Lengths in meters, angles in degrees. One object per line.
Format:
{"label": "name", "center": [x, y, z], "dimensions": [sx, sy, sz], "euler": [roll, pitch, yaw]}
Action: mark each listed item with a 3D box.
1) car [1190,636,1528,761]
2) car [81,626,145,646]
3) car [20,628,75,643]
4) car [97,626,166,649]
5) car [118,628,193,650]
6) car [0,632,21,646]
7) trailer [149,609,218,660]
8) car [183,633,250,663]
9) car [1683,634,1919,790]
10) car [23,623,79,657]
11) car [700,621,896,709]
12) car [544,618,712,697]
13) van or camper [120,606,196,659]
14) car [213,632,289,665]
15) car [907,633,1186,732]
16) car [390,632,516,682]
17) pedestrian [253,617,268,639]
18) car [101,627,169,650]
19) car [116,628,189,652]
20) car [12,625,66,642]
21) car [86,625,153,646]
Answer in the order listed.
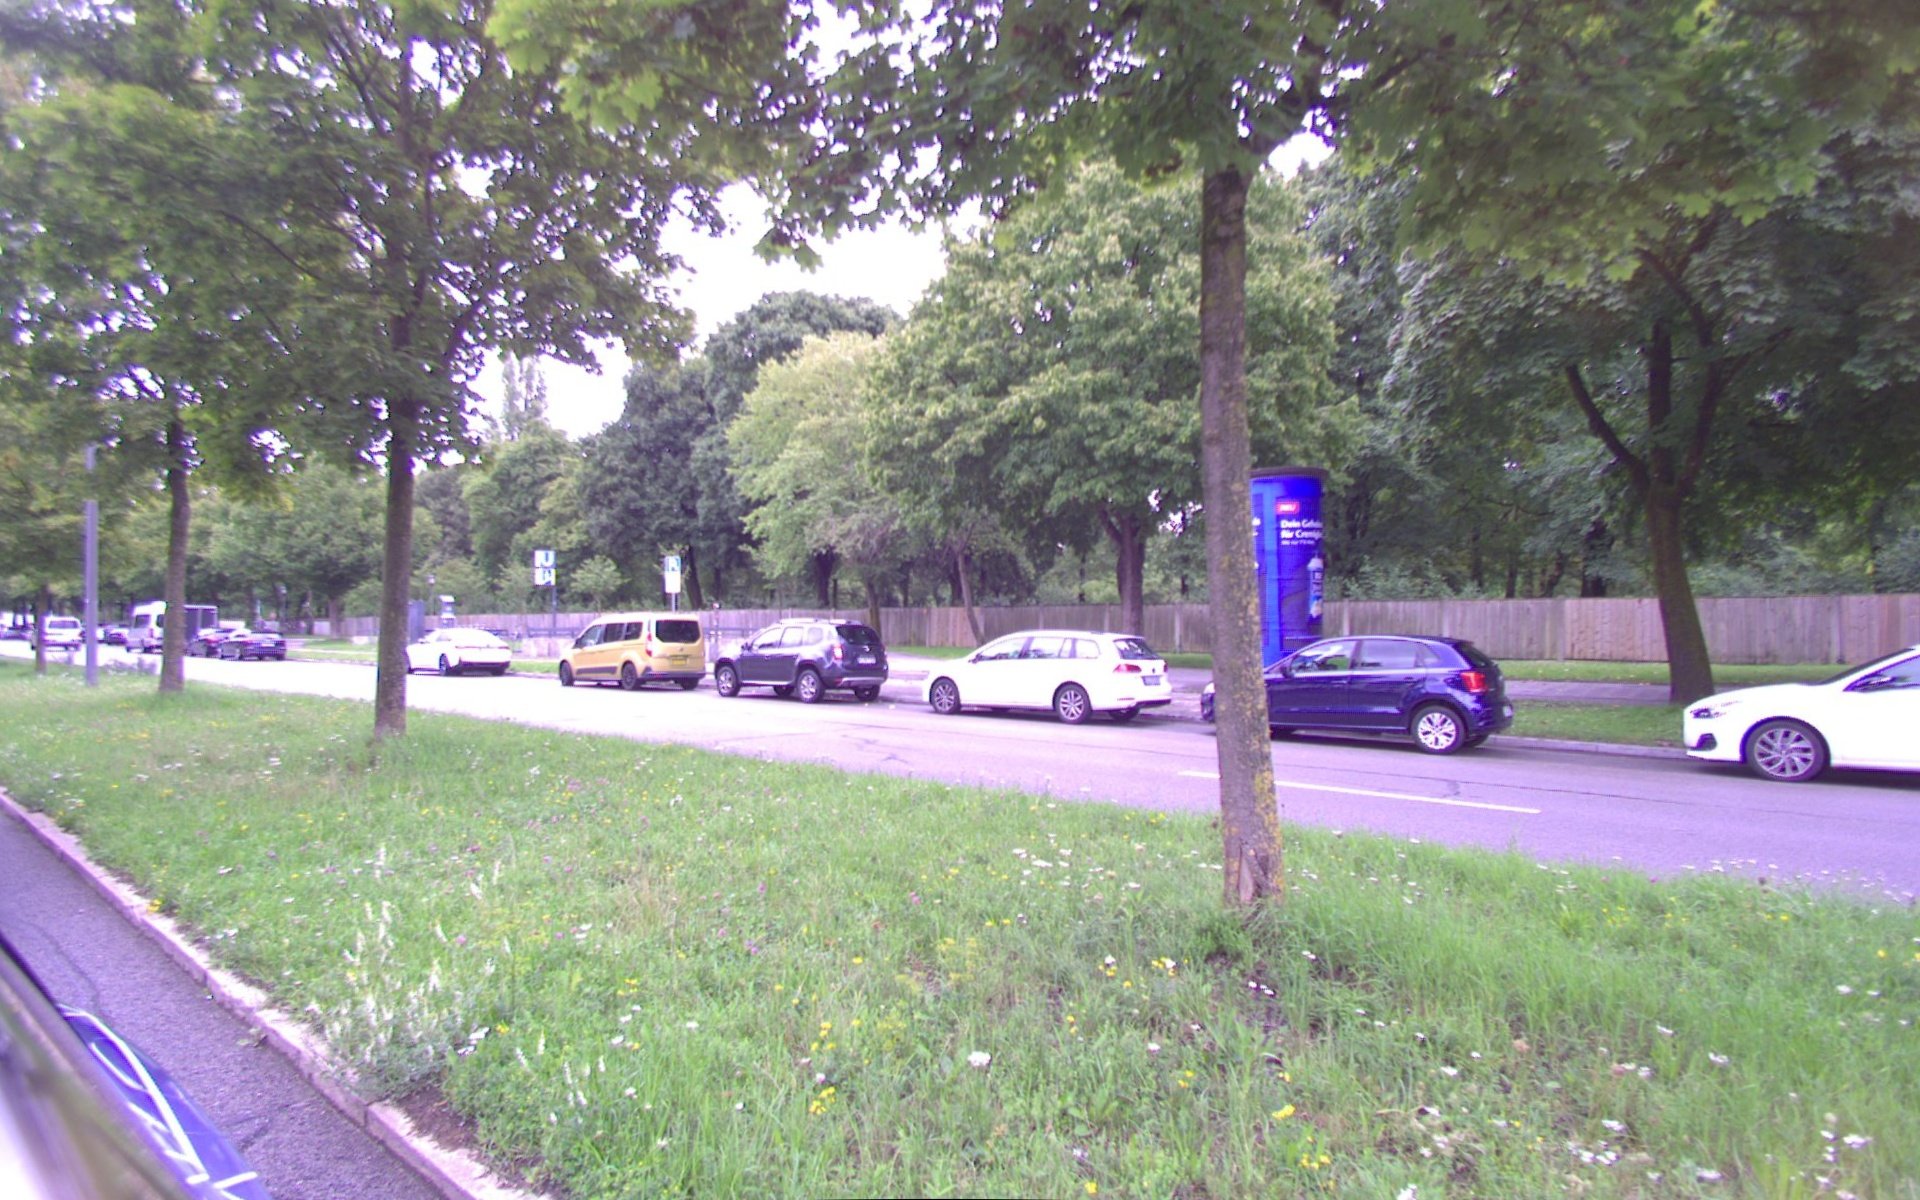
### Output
{"label": "car", "center": [5.205, 1.200, 13.453], "dimensions": [3.893, 1.428, 1.597], "euler": [-2, -3, 39]}
{"label": "car", "center": [-72.319, 3.075, 86.465], "dimensions": [1.723, 1.466, 3.984], "euler": [-2, 0, 13]}
{"label": "car", "center": [-91.506, 3.503, 101.542], "dimensions": [1.574, 1.376, 3.987], "euler": [-1, 0, 10]}
{"label": "car", "center": [-65.488, 2.925, 80.075], "dimensions": [1.783, 1.599, 3.985], "euler": [-2, 0, 12]}
{"label": "car", "center": [-58.385, 2.805, 73.559], "dimensions": [1.779, 1.449, 4.316], "euler": [-1, 0, 6]}
{"label": "car", "center": [-105.649, 4.289, 112.333], "dimensions": [4.170, 1.454, 1.864], "euler": [-1, -1, 45]}
{"label": "trailer", "center": [-41.462, 1.869, 54.006], "dimensions": [4.656, 2.610, 1.996], "euler": [-2, -3, 41]}
{"label": "car", "center": [-36.977, 2.373, 50.284], "dimensions": [4.235, 1.394, 1.781], "euler": [-2, -3, 41]}
{"label": "car", "center": [9.738, 1.067, 9.840], "dimensions": [4.276, 1.455, 1.590], "euler": [-2, -3, 41]}
{"label": "car", "center": [-54.544, 2.386, 60.712], "dimensions": [4.990, 1.948, 1.781], "euler": [-1, -3, 40]}
{"label": "car", "center": [-3.465, 1.316, 21.284], "dimensions": [4.252, 1.658, 1.719], "euler": [-2, -3, 40]}
{"label": "car", "center": [-8.332, 1.388, 25.187], "dimensions": [4.816, 1.796, 1.795], "euler": [-2, -3, 42]}
{"label": "van or camper", "center": [-46.056, 1.883, 58.029], "dimensions": [7.542, 2.859, 2.014], "euler": [-2, -3, 41]}
{"label": "car", "center": [-32.142, 2.195, 45.852], "dimensions": [4.428, 1.436, 1.781], "euler": [-2, -3, 41]}
{"label": "car", "center": [1.352, 1.303, 17.059], "dimensions": [4.529, 1.461, 1.744], "euler": [-2, -3, 40]}
{"label": "car", "center": [-16.296, 1.795, 32.432], "dimensions": [4.871, 1.484, 1.838], "euler": [-2, -3, 40]}
{"label": "pedestrian", "center": [-58.585, 2.331, 84.793], "dimensions": [0.872, 1.781, 0.761], "euler": [-1, -2, 37]}
{"label": "car", "center": [-63.427, 2.945, 77.878], "dimensions": [1.779, 1.497, 3.993], "euler": [-2, 0, 6]}
{"label": "car", "center": [-60.838, 2.985, 76.320], "dimensions": [1.779, 1.585, 4.316], "euler": [-1, 0, 6]}
{"label": "car", "center": [-96.421, 3.491, 105.980], "dimensions": [1.760, 1.741, 3.992], "euler": [-1, 0, 6]}
{"label": "car", "center": [-70.050, 2.949, 84.432], "dimensions": [1.873, 1.474, 3.984], "euler": [-2, 0, 13]}
